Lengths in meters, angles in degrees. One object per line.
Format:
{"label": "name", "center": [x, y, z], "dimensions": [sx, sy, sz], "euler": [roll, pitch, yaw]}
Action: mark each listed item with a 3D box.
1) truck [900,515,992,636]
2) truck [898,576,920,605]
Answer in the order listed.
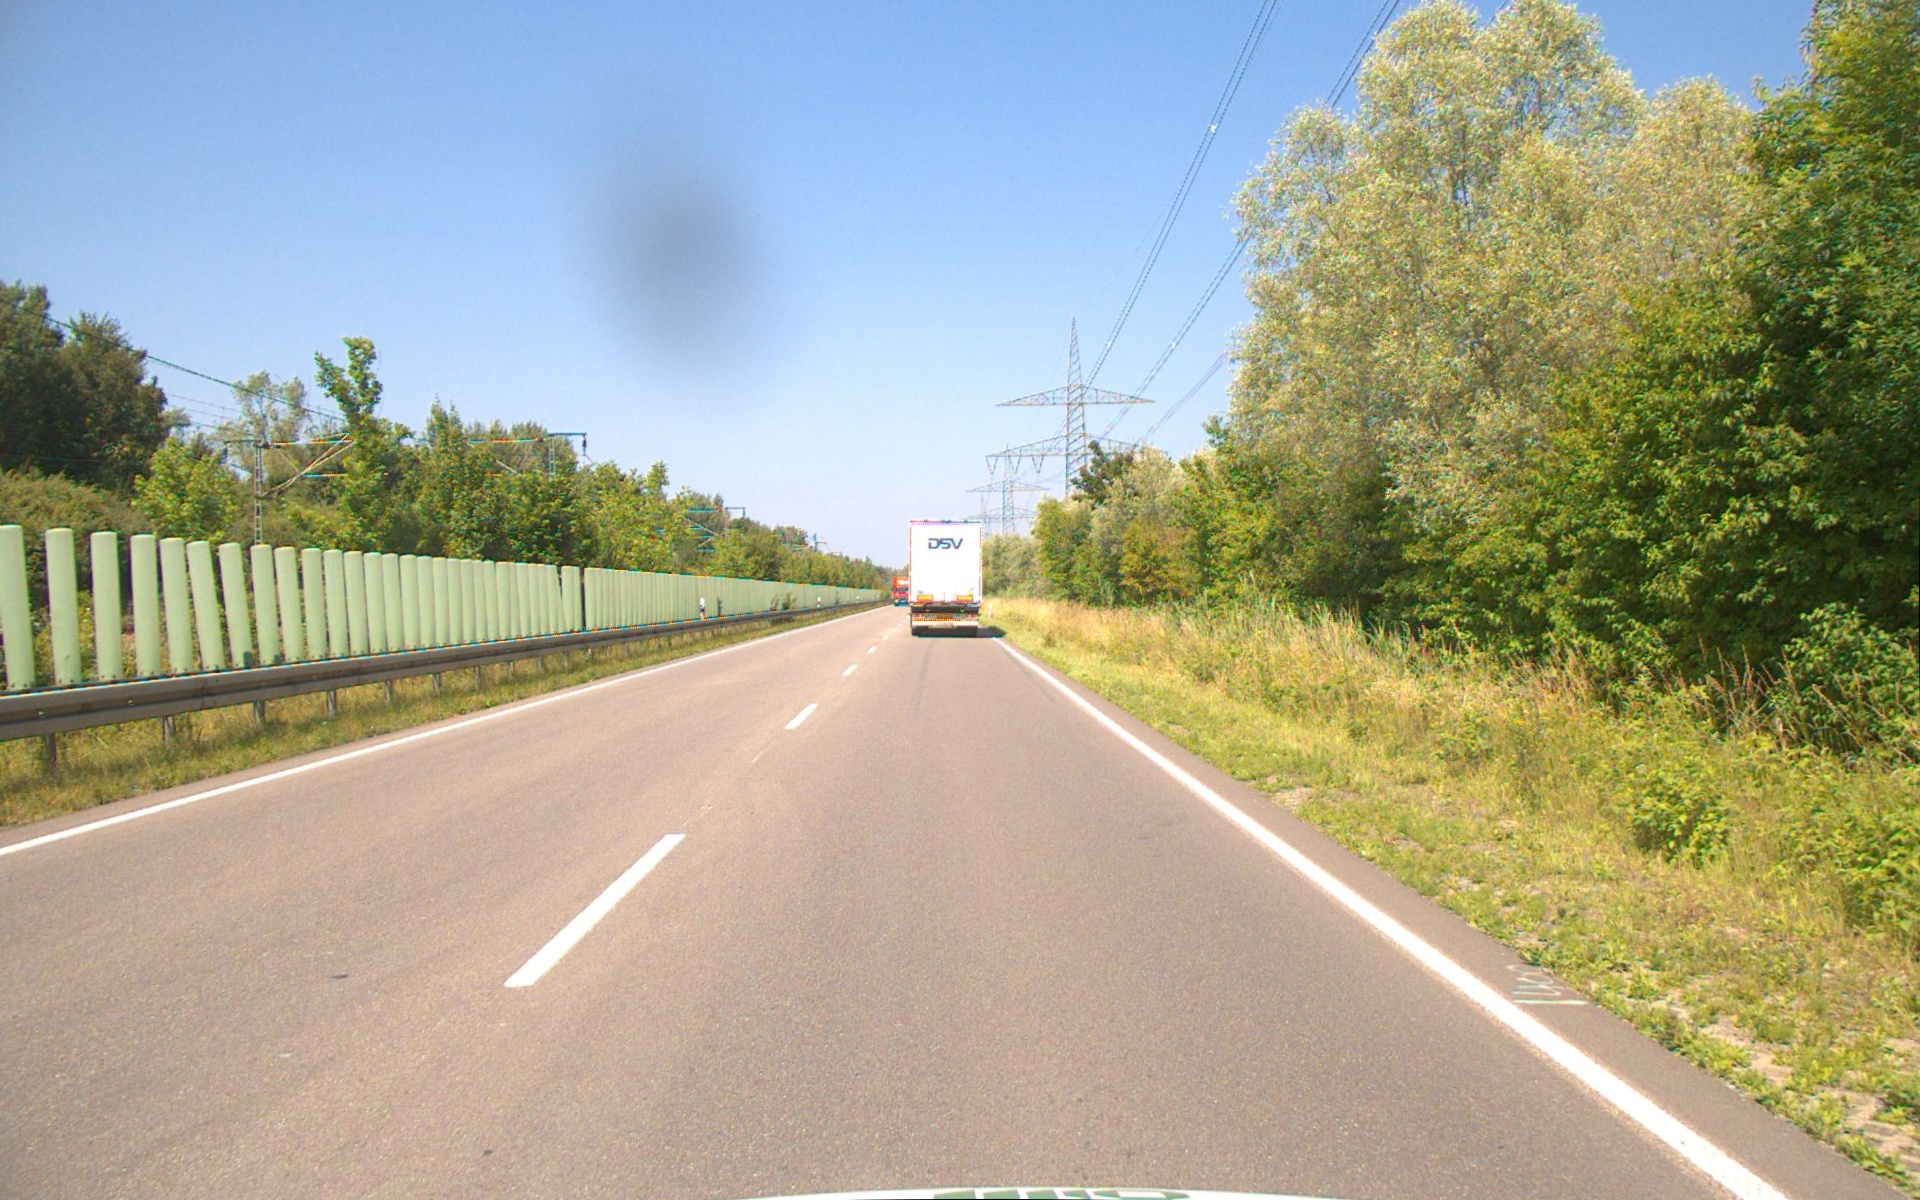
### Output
{"label": "truck", "center": [-0.637, -0.870, 62.457], "dimensions": [3.127, 4.113, 12.003], "euler": [0, 0, -2]}
{"label": "truck", "center": [-6.545, -1.232, 213.517], "dimensions": [2.678, 3.662, 9.524], "euler": [0, 0, -2]}
